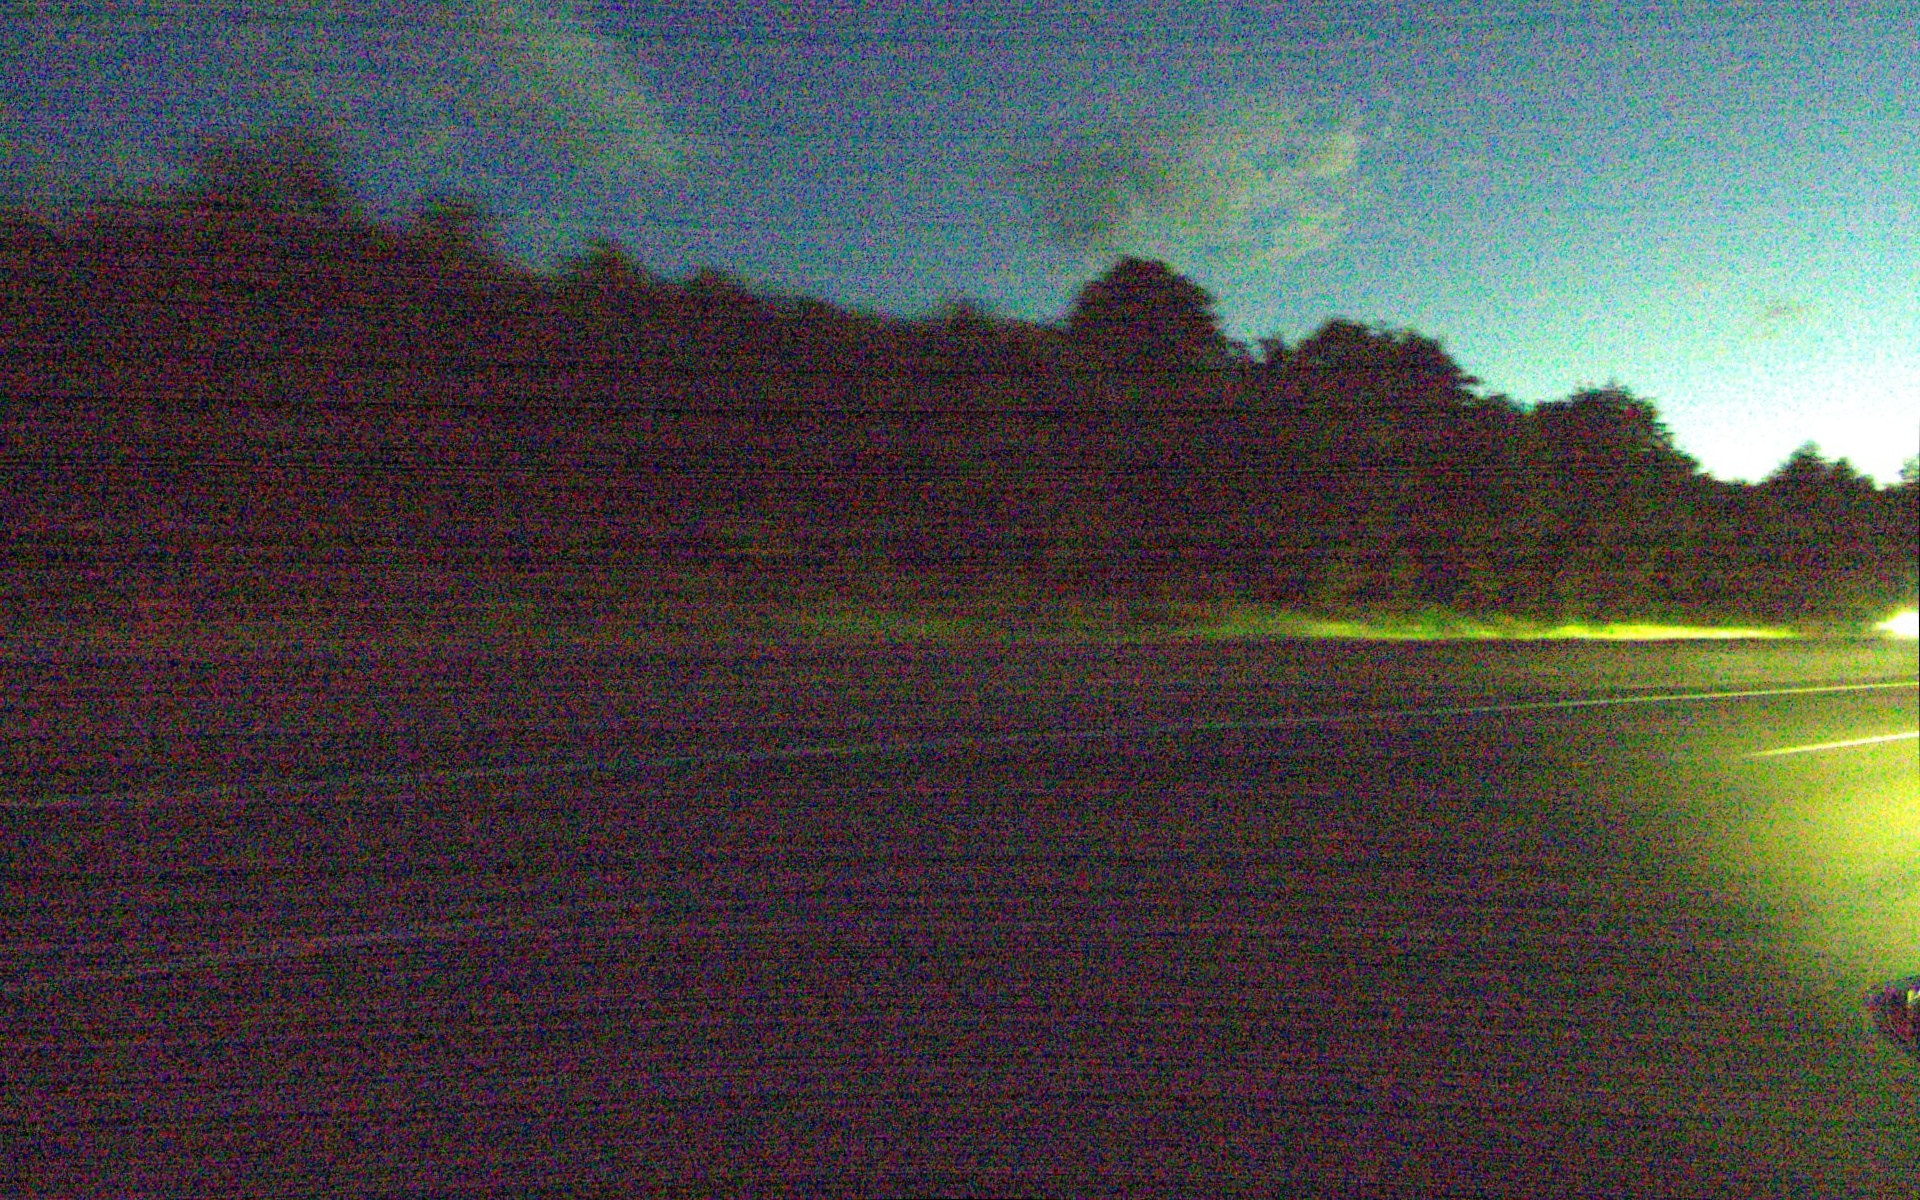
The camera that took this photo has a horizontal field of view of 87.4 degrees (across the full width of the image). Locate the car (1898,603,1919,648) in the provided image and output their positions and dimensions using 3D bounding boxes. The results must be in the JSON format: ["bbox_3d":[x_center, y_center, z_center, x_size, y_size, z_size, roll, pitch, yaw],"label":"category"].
[{"bbox_3d":[57.579,1.546,58.684,6.162,2.520,2.074,2,0,-27],"label":"car"}]
